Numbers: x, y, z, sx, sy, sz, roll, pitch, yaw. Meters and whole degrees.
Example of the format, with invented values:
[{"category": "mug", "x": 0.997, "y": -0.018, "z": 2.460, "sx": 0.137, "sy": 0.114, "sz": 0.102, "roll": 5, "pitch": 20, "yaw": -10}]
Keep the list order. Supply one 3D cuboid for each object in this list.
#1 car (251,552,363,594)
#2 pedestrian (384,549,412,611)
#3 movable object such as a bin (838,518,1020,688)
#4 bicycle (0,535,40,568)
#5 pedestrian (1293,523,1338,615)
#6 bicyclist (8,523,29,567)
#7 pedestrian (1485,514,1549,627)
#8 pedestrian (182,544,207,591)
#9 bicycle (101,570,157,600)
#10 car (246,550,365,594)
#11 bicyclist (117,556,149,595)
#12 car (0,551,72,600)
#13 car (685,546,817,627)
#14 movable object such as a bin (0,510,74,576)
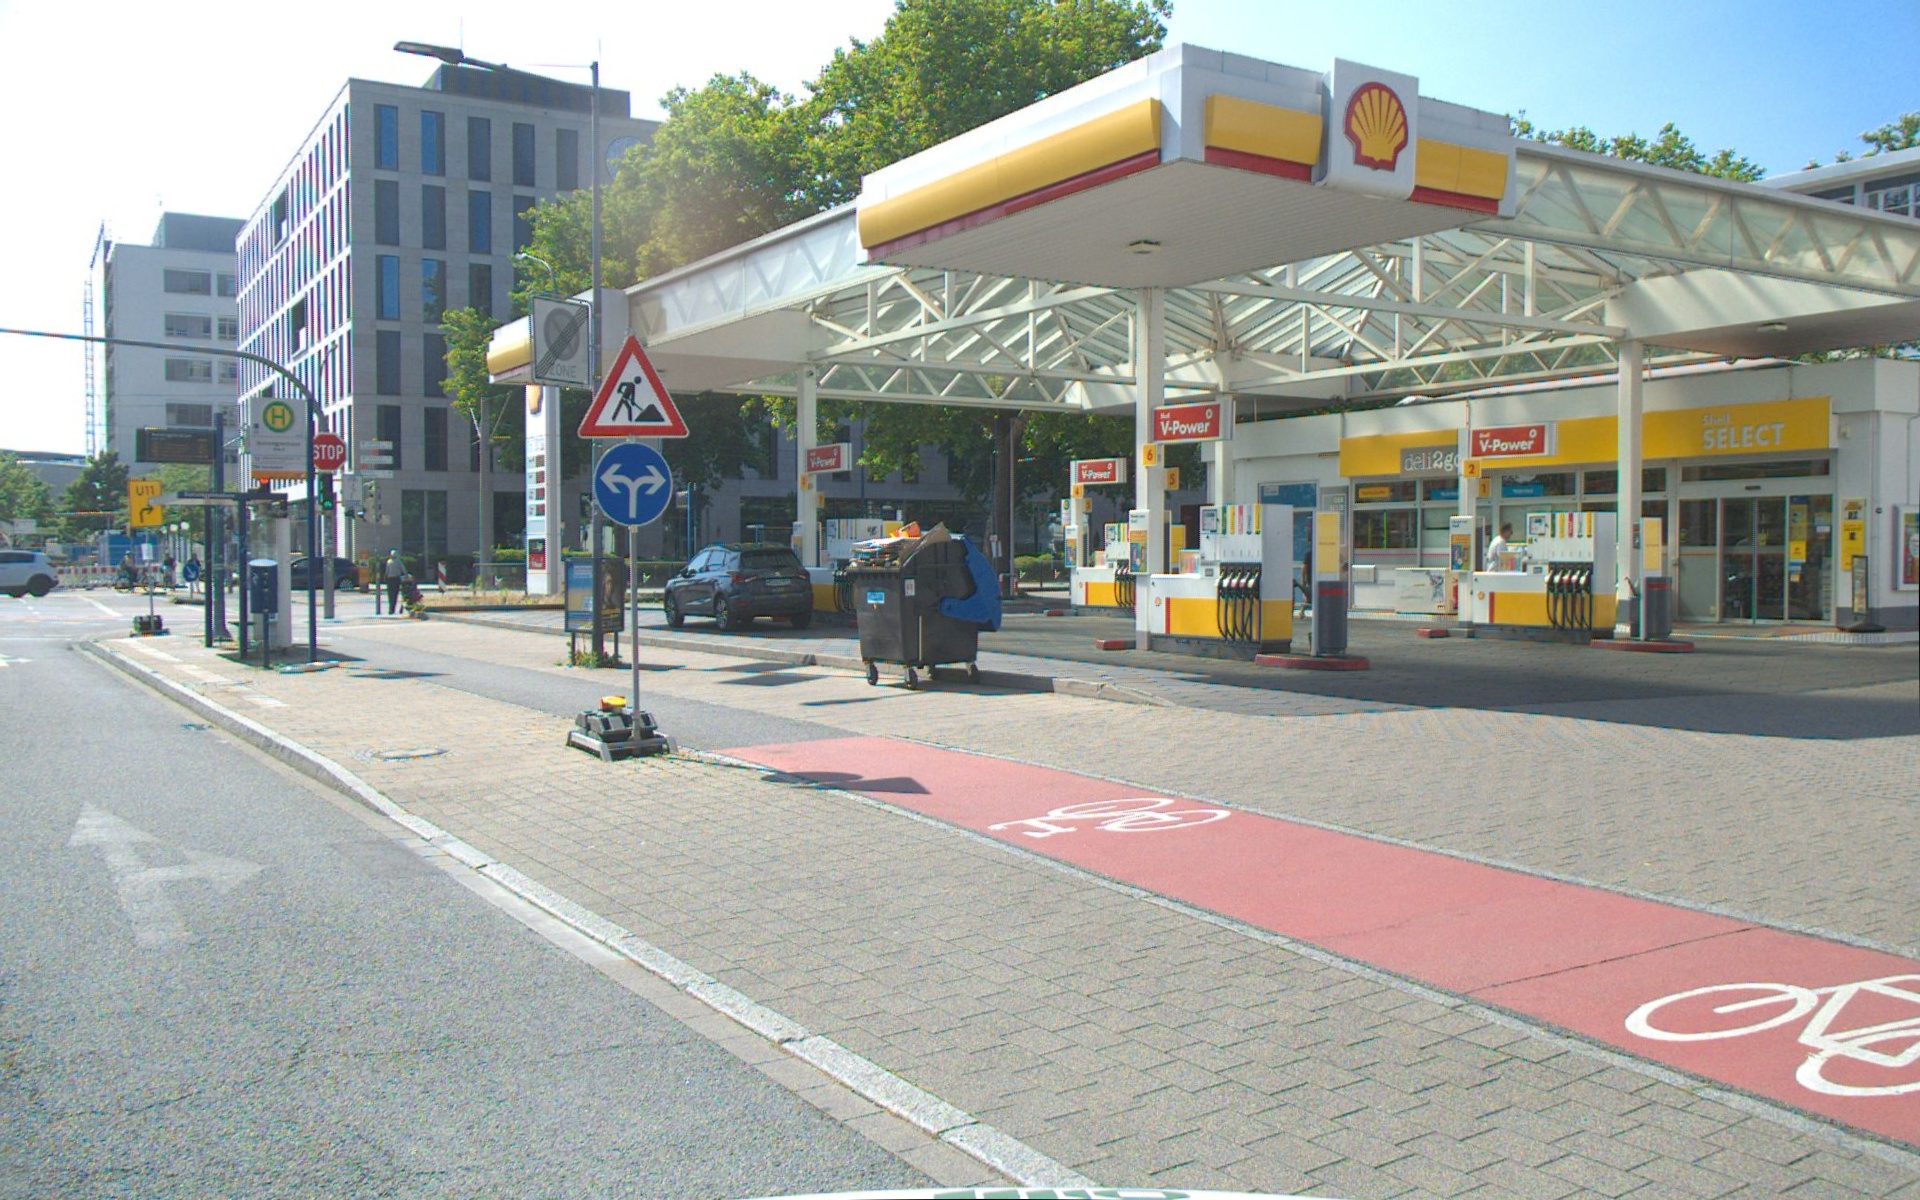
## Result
[{"category": "car", "x": -26.295, "y": -1.109, "z": 66.618, "sx": 3.951, "sy": 1.609, "sz": 1.823, "roll": -1, "pitch": 2, "yaw": -33}, {"category": "pedestrian", "x": -14.471, "y": -0.525, "z": 42.583, "sx": 0.612, "sy": 1.570, "sz": 0.456, "roll": -1, "pitch": 1, "yaw": -33}, {"category": "movable object such as a bin", "x": -0.329, "y": 0.002, "z": 17.036, "sx": 1.297, "sy": 1.619, "sz": 1.379, "roll": -4, "pitch": 3, "yaw": -34}, {"category": "bicycle", "x": -56.803, "y": -2.927, "z": 99.922, "sx": 2.062, "sy": 1.996, "sz": 0.821, "roll": 0, "pitch": 1, "yaw": -26}, {"category": "pedestrian", "x": 7.285, "y": -0.640, "z": 33.907, "sx": 0.665, "sy": 1.853, "sz": 0.626, "roll": 0, "pitch": 1, "yaw": -26}, {"category": "bicyclist", "x": -56.854, "y": -3.319, "z": 99.898, "sx": 1.056, "sy": 2.619, "sz": 0.821, "roll": 0, "pitch": 1, "yaw": -26}, {"category": "pedestrian", "x": 9.435, "y": -0.499, "z": 28.001, "sx": 0.841, "sy": 1.869, "sz": 0.742, "roll": 1, "pitch": 1, "yaw": 36}, {"category": "pedestrian", "x": -33.796, "y": -1.425, "z": 72.998, "sx": 0.762, "sy": 2.048, "sz": 0.777, "roll": 0, "pitch": 1, "yaw": -3}, {"category": "bicycle", "x": -36.503, "y": -0.679, "z": 72.676, "sx": 2.199, "sy": 1.307, "sz": 0.521, "roll": 0, "pitch": 1, "yaw": -24}, {"category": "car", "x": -25.907, "y": -1.143, "z": 65.490, "sx": 4.073, "sy": 1.667, "sz": 1.977, "roll": -1, "pitch": 2, "yaw": -34}, {"category": "bicyclist", "x": -36.358, "y": -1.100, "z": 72.736, "sx": 1.223, "sy": 1.702, "sz": 0.521, "roll": 0, "pitch": 1, "yaw": -24}, {"category": "car", "x": -33.911, "y": -0.855, "z": 57.666, "sx": 1.962, "sy": 1.665, "sz": 4.848, "roll": 1, "pitch": 1, "yaw": 38}, {"category": "car", "x": -3.971, "y": -0.278, "z": 30.993, "sx": 1.626, "sy": 1.422, "sz": 3.619, "roll": -1, "pitch": 1, "yaw": -21}, {"category": "movable object such as a bin", "x": -68.373, "y": -4.025, "z": 117.411, "sx": 9.576, "sy": 4.629, "sz": 3.132, "roll": -1, "pitch": 1, "yaw": -31}]
